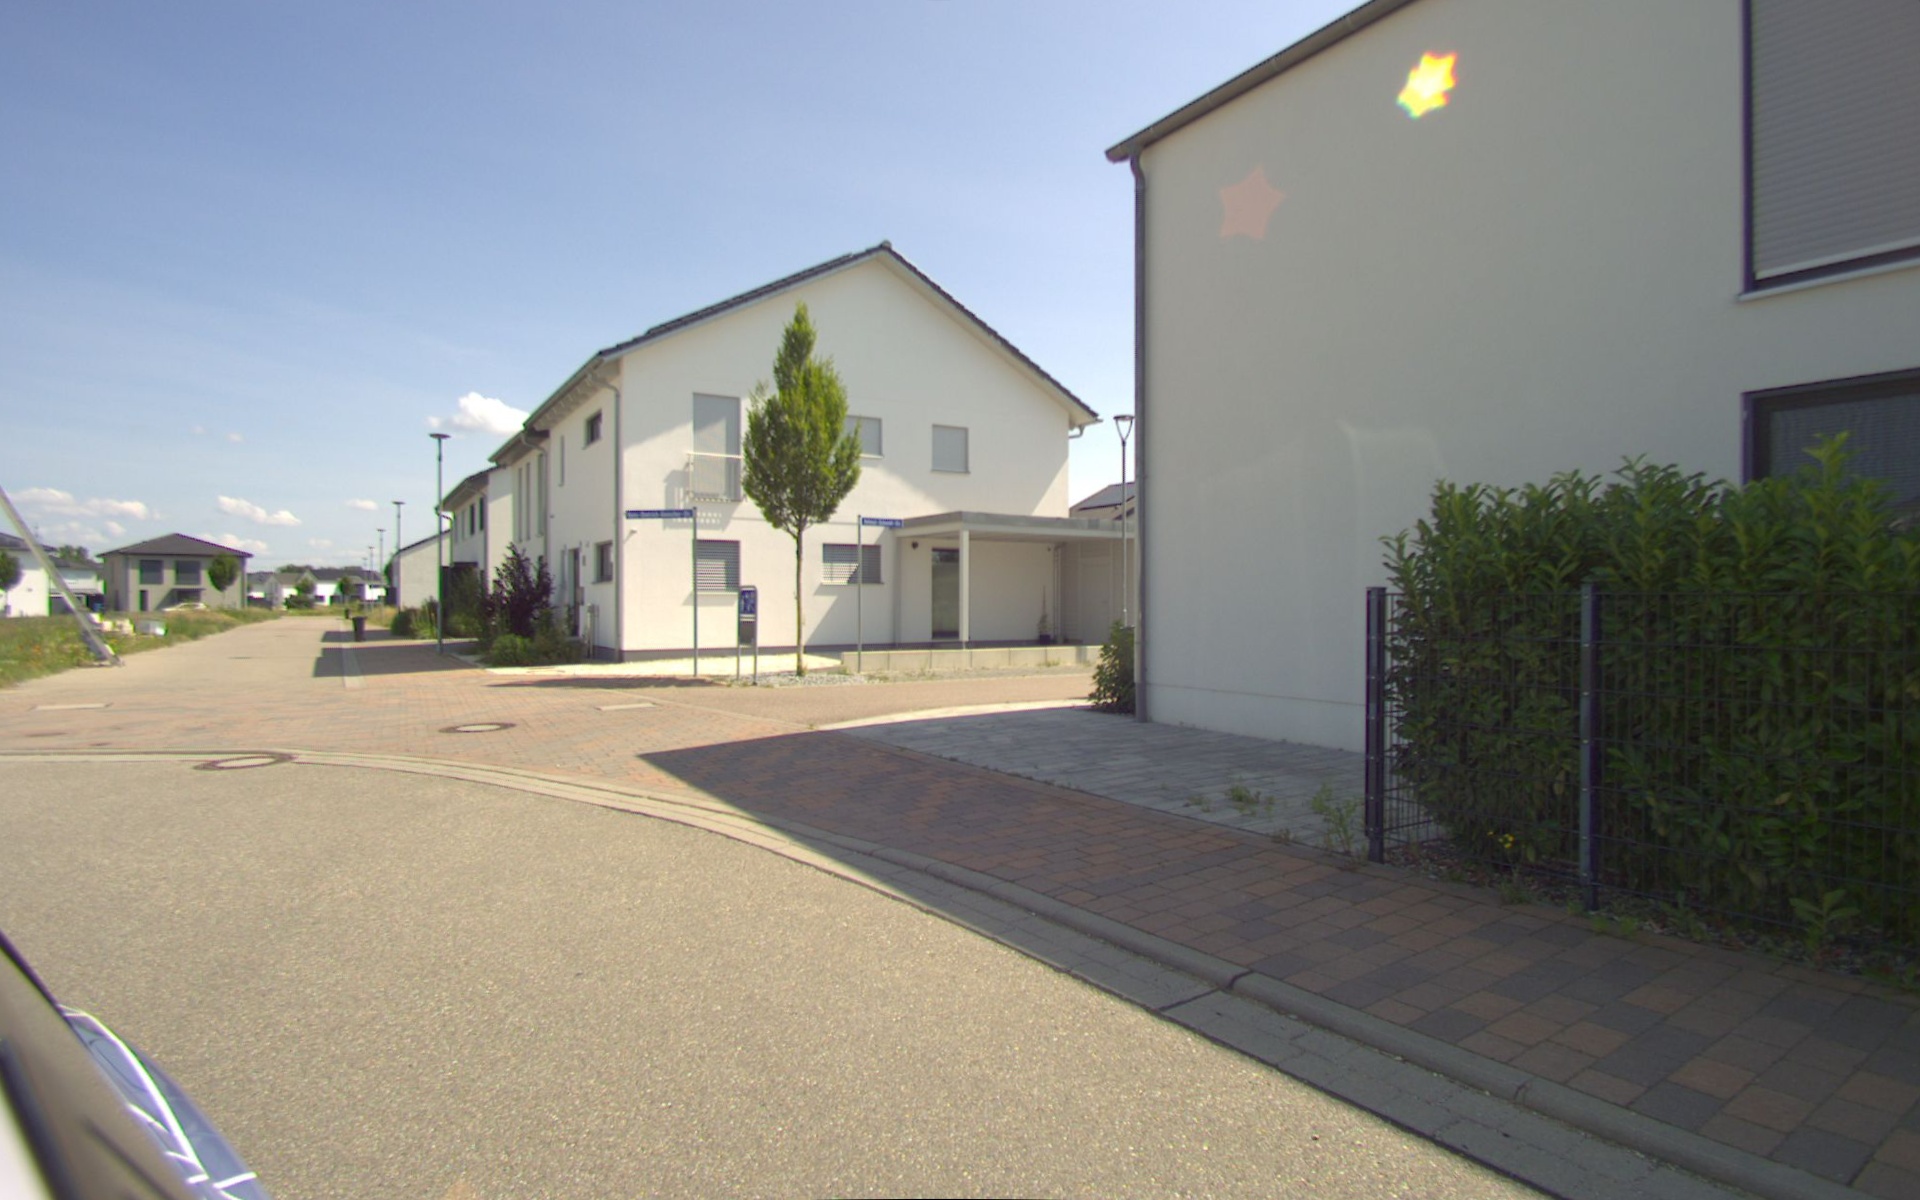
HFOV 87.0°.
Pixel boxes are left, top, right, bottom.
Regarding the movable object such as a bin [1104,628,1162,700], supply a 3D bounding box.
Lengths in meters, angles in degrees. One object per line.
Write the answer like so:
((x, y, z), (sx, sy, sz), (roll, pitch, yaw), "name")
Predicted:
((2.360, 0.865, 13.860), (0.492, 0.956, 0.603), (0, -2, -32), "movable object such as a bin")

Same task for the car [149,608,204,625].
((-71.965, 1.502, 92.944), (3.936, 1.564, 1.838), (0, -1, -40), "car")

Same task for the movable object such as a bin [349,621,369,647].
((-21.663, 1.212, 36.481), (0.588, 0.928, 0.463), (0, -1, -31), "movable object such as a bin")

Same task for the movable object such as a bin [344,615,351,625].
((-58.986, 1.893, 97.440), (0.588, 0.928, 0.463), (0, -1, -31), "movable object such as a bin")
